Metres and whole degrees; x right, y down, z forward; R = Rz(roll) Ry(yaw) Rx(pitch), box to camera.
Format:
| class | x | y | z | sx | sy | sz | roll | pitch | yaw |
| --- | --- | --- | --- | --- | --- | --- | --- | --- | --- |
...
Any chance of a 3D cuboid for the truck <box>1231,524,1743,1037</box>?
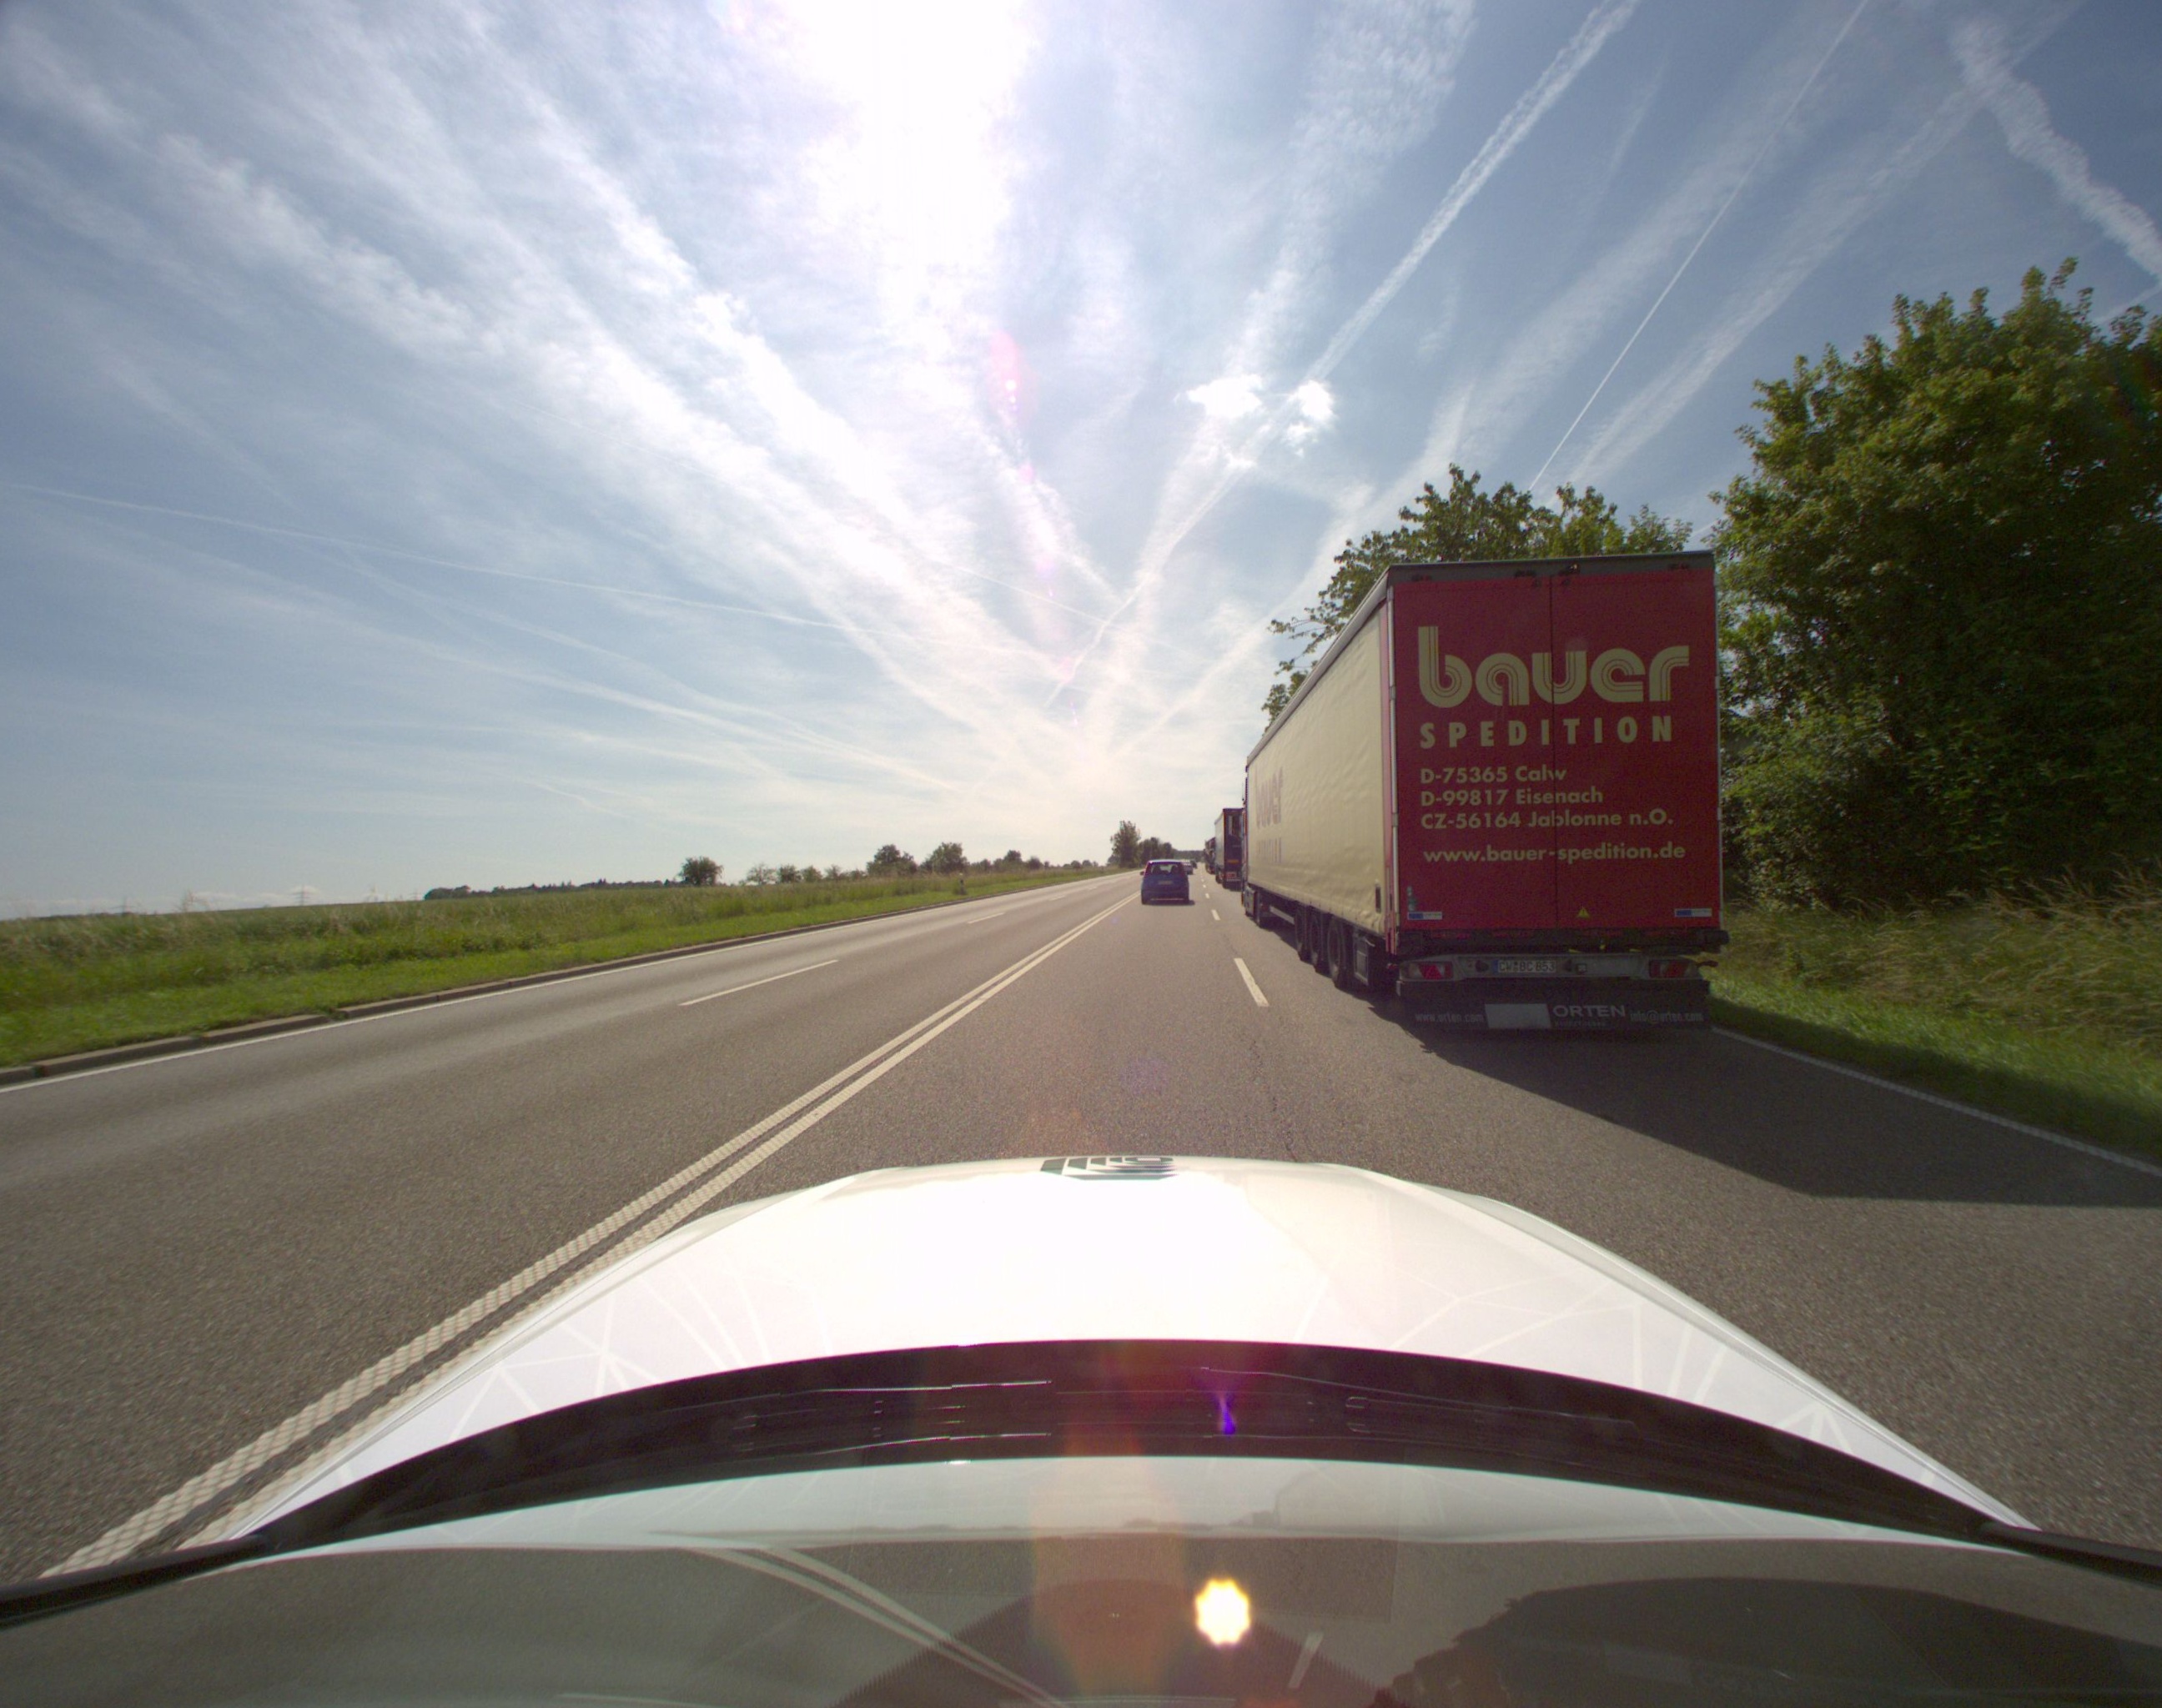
| class | x | y | z | sx | sy | sz | roll | pitch | yaw |
| --- | --- | --- | --- | --- | --- | --- | --- | --- | --- |
| truck | 4.858 | -0.526 | 15.099 | 2.991 | 4.180 | 16.745 | -1 | -1 | 7 |

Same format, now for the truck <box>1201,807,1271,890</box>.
| class | x | y | z | sx | sy | sz | roll | pitch | yaw |
| --- | --- | --- | --- | --- | --- | --- | --- | --- | --- |
| truck | 8.536 | -0.178 | 46.712 | 3.030 | 3.910 | 15.647 | -1 | -1 | 8 |

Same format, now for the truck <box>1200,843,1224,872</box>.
| class | x | y | z | sx | sy | sz | roll | pitch | yaw |
| --- | --- | --- | --- | --- | --- | --- | --- | --- | --- |
| truck | 18.836 | 0.554 | 118.017 | 3.030 | 3.910 | 18.438 | -1 | -1 | 8 |

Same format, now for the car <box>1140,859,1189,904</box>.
| class | x | y | z | sx | sy | sz | roll | pitch | yaw |
| --- | --- | --- | --- | --- | --- | --- | --- | --- | --- |
| car | 3.106 | 0.963 | 29.787 | 1.623 | 1.531 | 3.923 | -1 | -1 | 8 |

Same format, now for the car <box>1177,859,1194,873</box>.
| class | x | y | z | sx | sy | sz | roll | pitch | yaw |
| --- | --- | --- | --- | --- | --- | --- | --- | --- | --- |
| car | 10.604 | 1.236 | 82.741 | 1.694 | 1.376 | 4.611 | 0 | -1 | 7 |

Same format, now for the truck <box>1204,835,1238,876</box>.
| class | x | y | z | sx | sy | sz | roll | pitch | yaw |
| --- | --- | --- | --- | --- | --- | --- | --- | --- | --- |
| truck | 14.662 | 0.213 | 86.295 | 3.030 | 3.910 | 18.438 | -1 | -1 | 8 |
